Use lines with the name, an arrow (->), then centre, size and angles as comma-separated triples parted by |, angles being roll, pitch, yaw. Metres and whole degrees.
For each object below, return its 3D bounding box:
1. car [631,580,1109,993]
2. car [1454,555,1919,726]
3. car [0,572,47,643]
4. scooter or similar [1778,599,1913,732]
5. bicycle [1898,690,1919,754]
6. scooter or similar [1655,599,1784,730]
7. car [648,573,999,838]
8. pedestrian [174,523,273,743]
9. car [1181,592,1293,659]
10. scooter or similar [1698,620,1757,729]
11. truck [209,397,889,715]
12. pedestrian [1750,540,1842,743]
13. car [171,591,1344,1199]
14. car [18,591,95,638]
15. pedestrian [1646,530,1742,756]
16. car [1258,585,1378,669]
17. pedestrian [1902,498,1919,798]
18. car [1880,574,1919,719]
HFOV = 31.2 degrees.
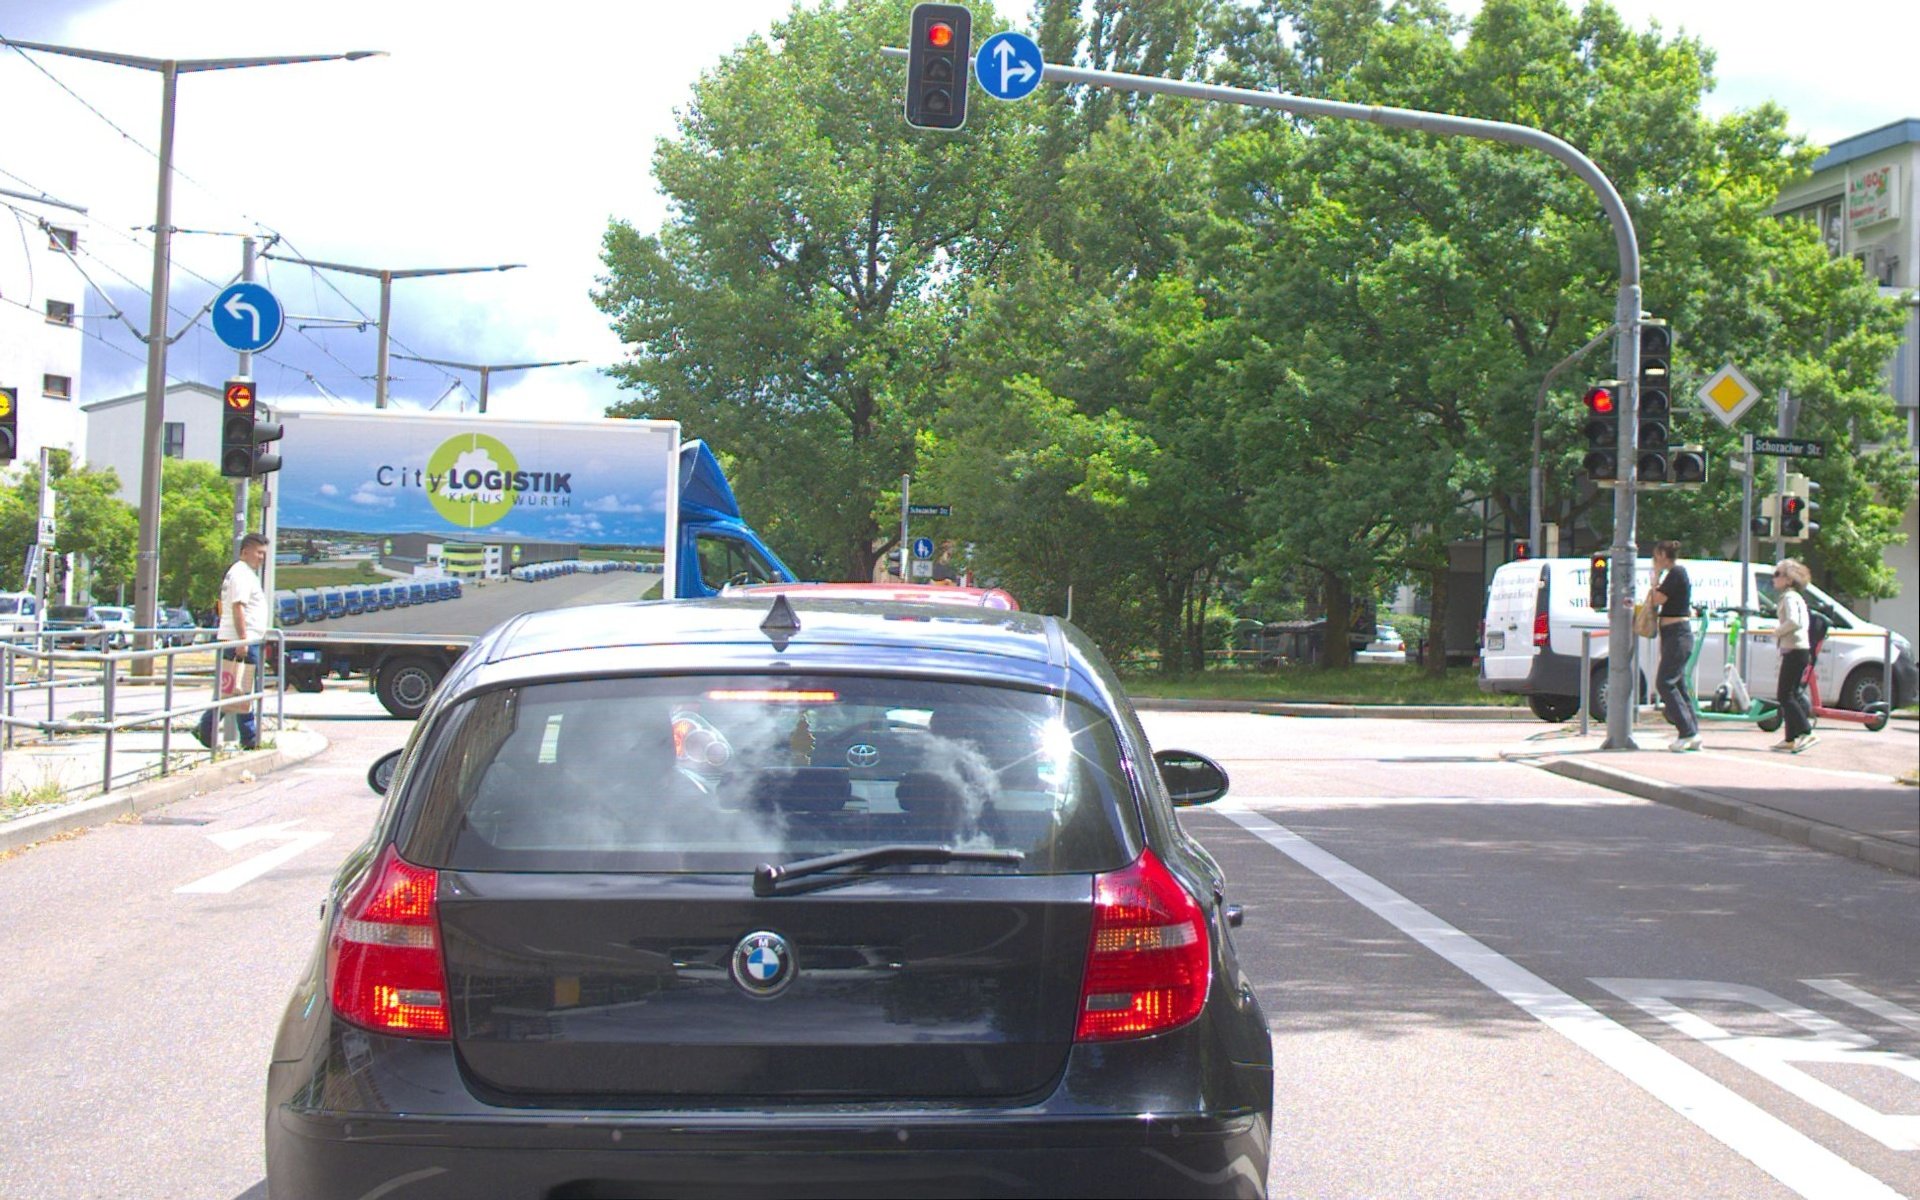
car -> -0.331, 0.638, 13.637 | 1.638, 1.395, 3.420 | 1, 0, -1
car -> 8.639, 0.464, 40.474 | 5.168, 1.886, 2.001 | 1, 0, -12
car -> -24.563, 0.165, 87.670 | 1.591, 1.750, 3.775 | 1, 0, -2
scooter or similar -> 8.771, 0.642, 34.074 | 1.150, 1.268, 0.555 | 2, 0, 2
bicycle -> 10.254, 1.181, 34.427 | 1.587, 0.608, 0.534 | -4, -1, 20
scooter or similar -> 7.321, 0.614, 33.177 | 1.110, 1.231, 0.539 | 1, 0, 2
car -> -0.773, 0.559, 21.107 | 1.900, 1.417, 4.539 | 1, 0, -1
pedestrian -> -5.886, 0.261, 27.501 | 0.687, 1.728, 0.688 | 1, 0, -6
car -> 7.280, 0.656, 90.688 | 1.862, 1.656, 4.001 | 1, 0, -11
scooter or similar -> 7.798, 0.745, 34.905 | 0.548, 1.060, 1.261 | 1, 0, 13
truck -> -4.622, -0.462, 38.443 | 7.266, 3.337, 2.609 | 1, 0, -11
pedestrian -> 7.346, 0.360, 30.229 | 0.636, 1.760, 0.518 | 1, 0, -3
car -> -0.318, 0.705, 6.734 | 1.700, 1.395, 3.420 | 1, 0, -1
car -> -29.385, 0.455, 111.924 | 1.591, 1.469, 3.775 | 1, 0, -2
pedestrian -> 6.154, 0.357, 28.839 | 0.636, 1.870, 0.518 | 1, 0, -3
car -> 8.268, 0.603, 79.739 | 1.726, 1.865, 4.001 | 1, 0, -9
pedestrian -> 6.380, 0.303, 21.245 | 0.795, 1.870, 1.013 | 1, 0, -1
car -> 15.477, 0.637, 48.254 | 4.534, 2.007, 2.000 | 0, 0, -8
